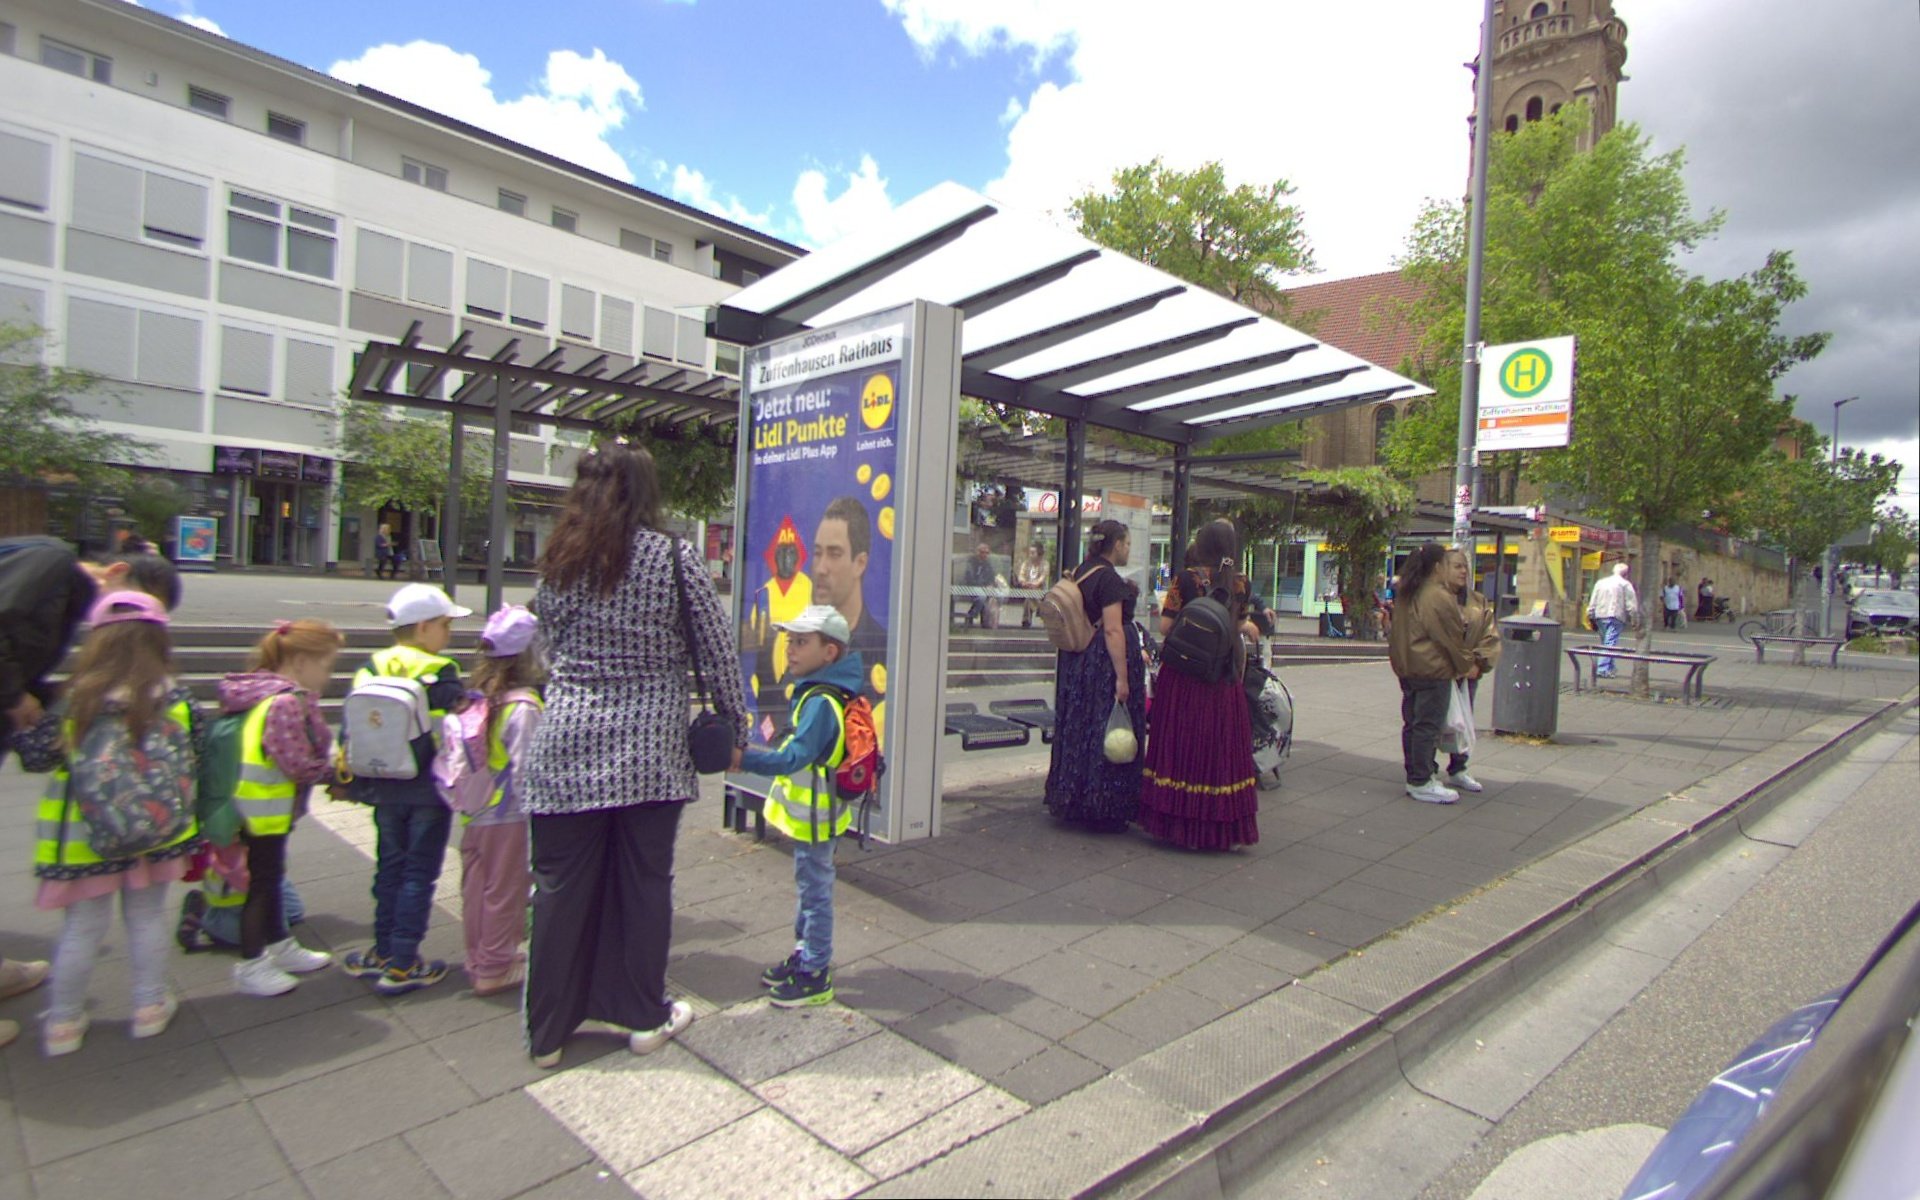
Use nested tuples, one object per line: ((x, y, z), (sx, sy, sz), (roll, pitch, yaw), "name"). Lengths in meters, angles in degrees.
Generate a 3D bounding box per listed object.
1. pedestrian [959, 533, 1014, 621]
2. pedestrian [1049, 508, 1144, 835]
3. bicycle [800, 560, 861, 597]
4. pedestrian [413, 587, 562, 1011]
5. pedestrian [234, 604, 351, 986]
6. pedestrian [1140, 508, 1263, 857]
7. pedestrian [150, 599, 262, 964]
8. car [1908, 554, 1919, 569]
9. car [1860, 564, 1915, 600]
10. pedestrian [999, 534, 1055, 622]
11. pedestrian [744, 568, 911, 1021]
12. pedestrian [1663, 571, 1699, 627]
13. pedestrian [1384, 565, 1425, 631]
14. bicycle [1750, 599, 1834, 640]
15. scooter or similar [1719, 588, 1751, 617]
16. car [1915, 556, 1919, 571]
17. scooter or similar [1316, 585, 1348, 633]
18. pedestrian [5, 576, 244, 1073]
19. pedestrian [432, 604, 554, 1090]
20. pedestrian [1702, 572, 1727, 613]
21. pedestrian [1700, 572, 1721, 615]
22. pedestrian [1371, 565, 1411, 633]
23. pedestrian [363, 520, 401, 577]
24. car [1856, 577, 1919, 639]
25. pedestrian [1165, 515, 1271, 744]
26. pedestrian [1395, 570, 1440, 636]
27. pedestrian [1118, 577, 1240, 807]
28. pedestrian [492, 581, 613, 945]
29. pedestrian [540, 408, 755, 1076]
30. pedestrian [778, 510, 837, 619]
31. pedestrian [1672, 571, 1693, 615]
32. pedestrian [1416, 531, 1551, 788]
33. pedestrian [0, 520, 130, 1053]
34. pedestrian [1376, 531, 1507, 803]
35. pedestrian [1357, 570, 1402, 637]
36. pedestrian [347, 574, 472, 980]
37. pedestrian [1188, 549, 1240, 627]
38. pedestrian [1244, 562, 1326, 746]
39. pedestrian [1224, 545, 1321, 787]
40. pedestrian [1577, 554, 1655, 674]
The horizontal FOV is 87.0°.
((0.383, -0.326, 14.707), (0.555, 1.243, 0.570), (1, 0, -33), "pedestrian")
((0.699, 0.343, 5.147), (0.389, 1.585, 0.351), (2, 1, 14), "pedestrian")
((-4.658, -0.773, 36.424), (1.998, 1.156, 0.685), (5, 2, 15), "bicycle")
((-1.393, 0.558, 2.993), (0.261, 1.175, 0.269), (3, 2, 18), "pedestrian")
((-2.003, 0.562, 3.051), (0.246, 1.082, 0.253), (1, 2, -26), "pedestrian")
((1.172, 0.369, 4.918), (0.494, 1.585, 0.495), (2, 2, 15), "pedestrian")
((-2.376, 0.548, 3.201), (0.247, 1.082, 0.251), (1, 3, -32), "pedestrian")
((109.486, -4.376, 115.380), (1.824, 1.709, 3.804), (3, 5, 40), "car")
((52.226, -1.071, 56.954), (4.948, 1.869, 1.887), (-3, 5, -44), "car")
((0.995, -0.326, 15.156), (0.662, 1.285, 0.772), (1, 0, -8), "pedestrian")
((-0.408, 0.534, 3.030), (0.380, 1.241, 0.405), (1, 2, -20), "pedestrian")
((23.141, -0.047, 32.474), (0.756, 1.751, 0.592), (4, 3, 28), "pedestrian")
((9.173, -0.042, 20.888), (0.564, 1.337, 0.496), (3, 0, -39), "pedestrian")
((22.809, 0.528, 27.788), (1.724, 1.008, 0.341), (4, 3, 39), "bicycle")
((30.162, 0.090, 39.384), (0.550, 1.085, 0.815), (-1, 3, -36), "scooter or similar")
((101.120, -3.765, 105.749), (1.681, 1.518, 4.093), (3, 4, 41), "car")
((7.259, 0.169, 19.745), (0.496, 0.905, 0.250), (3, 0, -12), "scooter or similar")
((-2.166, 0.543, 2.645), (0.331, 1.180, 0.350), (3, 4, 16), "pedestrian")
((-1.199, 0.603, 2.612), (0.243, 1.166, 0.276), (2, 2, -23), "pedestrian")
((29.291, -0.288, 39.279), (0.573, 1.542, 0.590), (0, 2, -38), "pedestrian")
((29.648, -0.266, 39.967), (0.497, 1.665, 0.474), (-1, 3, -36), "pedestrian")
((8.729, -0.014, 20.514), (0.515, 1.337, 0.499), (3, 0, -38), "pedestrian")
((-13.948, -1.237, 24.423), (0.562, 1.340, 0.541), (1, 0, 21), "pedestrian")
((29.278, 0.207, 31.507), (1.927, 1.745, 4.506), (4, 3, 41), "car")
((2.007, 0.209, 7.868), (0.566, 1.701, 0.512), (1, 2, -43), "pedestrian")
((9.657, 0.064, 21.352), (0.575, 1.337, 0.617), (3, 0, -39), "pedestrian")
((1.271, 0.496, 5.843), (0.377, 1.226, 0.624), (5, 3, 41), "pedestrian")
((-1.368, 0.531, 3.419), (0.287, 1.166, 0.299), (2, 2, -9), "pedestrian")
((-0.857, 0.349, 2.738), (0.459, 1.639, 0.389), (2, 2, -25), "pedestrian")
((-1.953, -0.445, 12.938), (0.535, 1.340, 0.570), (1, 0, -33), "pedestrian")
((28.035, -0.286, 39.275), (0.497, 1.665, 0.474), (-1, 3, -36), "pedestrian")
((3.333, 0.360, 6.469), (0.477, 1.568, 0.516), (1, 2, -16), "pedestrian")
((-2.570, 0.459, 2.562), (0.427, 1.319, 0.597), (3, 3, 14), "pedestrian")
((2.917, 0.382, 6.170), (0.477, 1.568, 0.544), (2, 1, 1), "pedestrian")
((8.318, 0.062, 20.066), (0.531, 1.278, 0.570), (3, 0, -39), "pedestrian")
((-1.682, 0.523, 3.105), (0.247, 1.188, 0.252), (2, 2, -11), "pedestrian")
((4.414, -0.208, 17.571), (0.536, 1.323, 0.626), (1, 2, -37), "pedestrian")
((2.438, 0.390, 7.592), (0.348, 1.322, 0.390), (1, 3, -41), "pedestrian")
((1.977, 0.393, 6.401), (0.377, 1.460, 0.410), (5, 3, 41), "pedestrian")
((9.636, 0.184, 14.874), (0.700, 1.703, 0.687), (1, 1, -32), "pedestrian")
